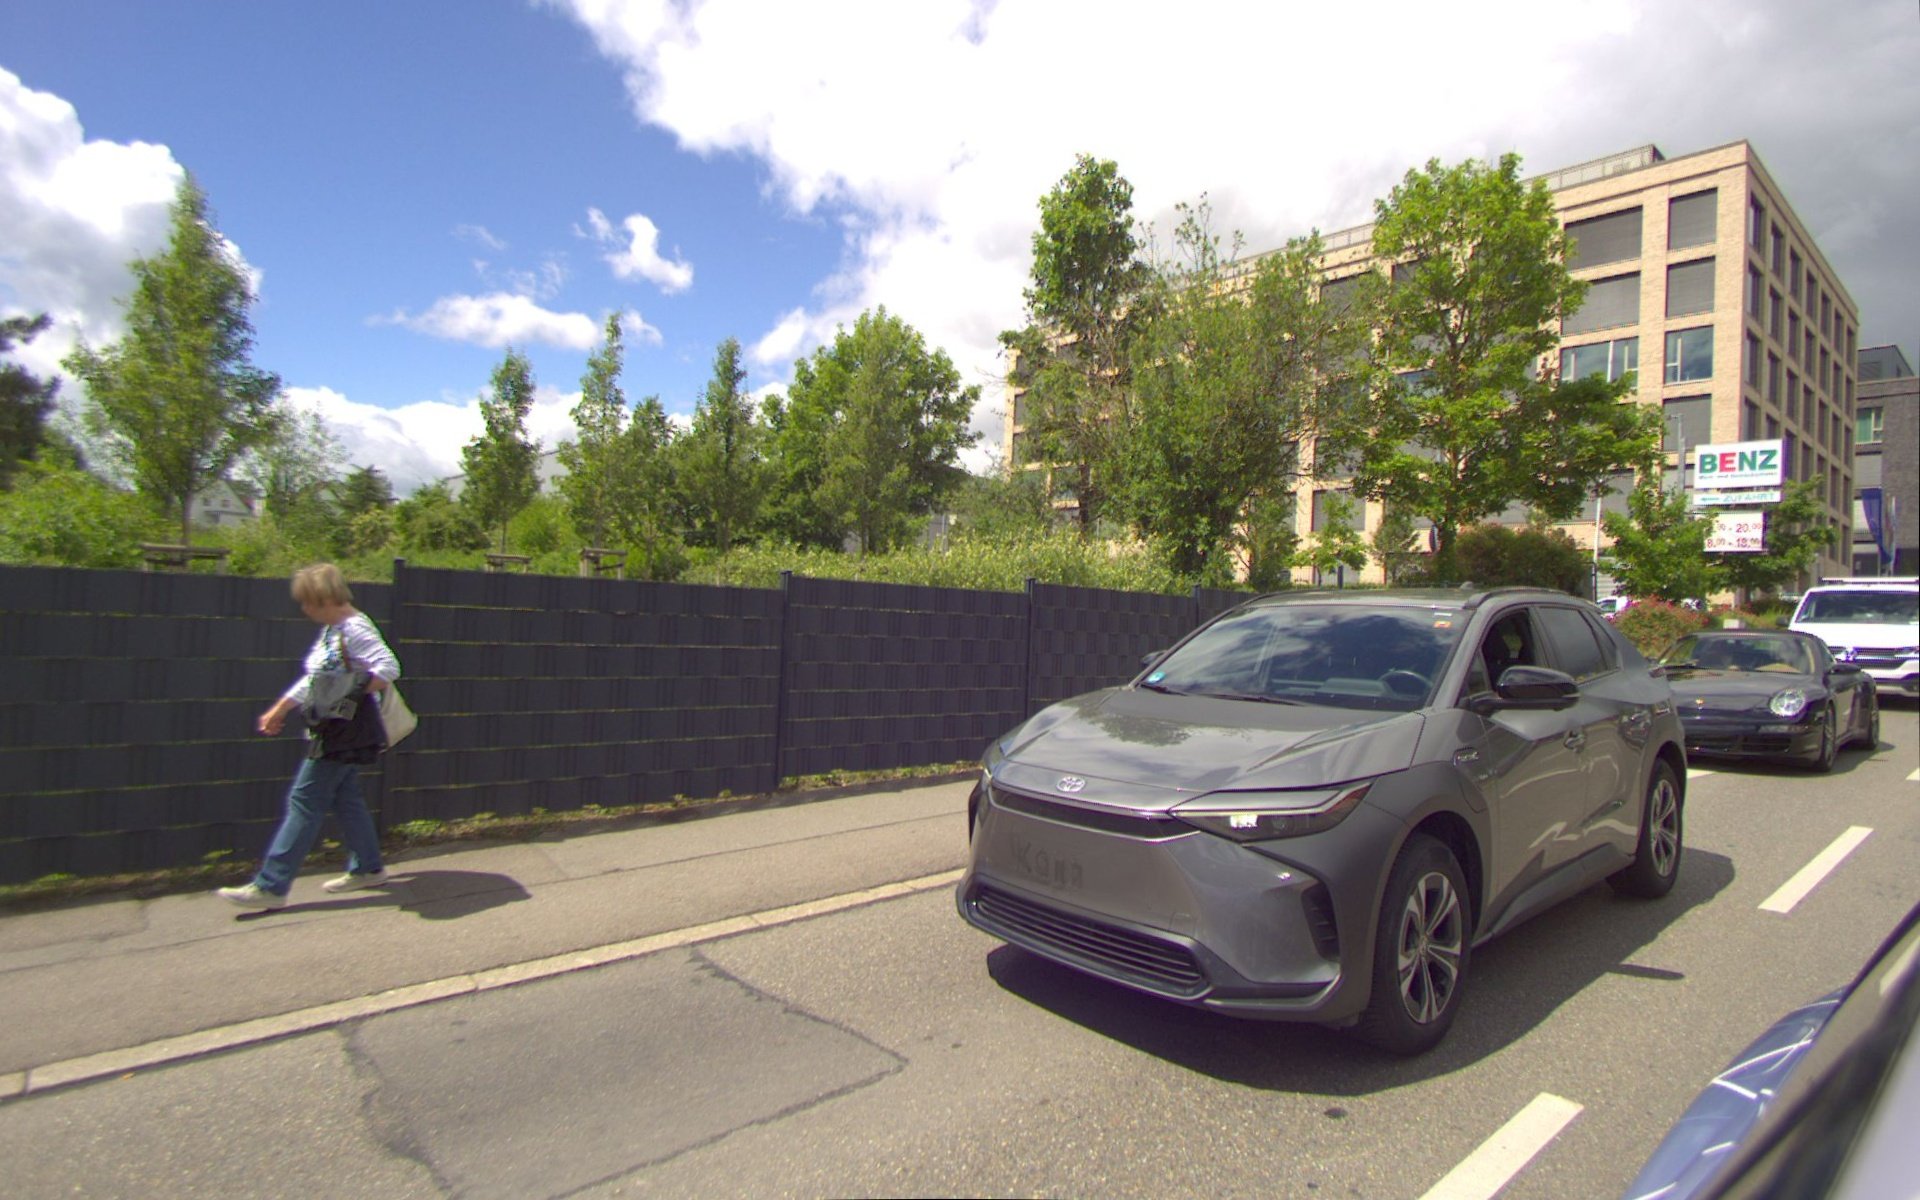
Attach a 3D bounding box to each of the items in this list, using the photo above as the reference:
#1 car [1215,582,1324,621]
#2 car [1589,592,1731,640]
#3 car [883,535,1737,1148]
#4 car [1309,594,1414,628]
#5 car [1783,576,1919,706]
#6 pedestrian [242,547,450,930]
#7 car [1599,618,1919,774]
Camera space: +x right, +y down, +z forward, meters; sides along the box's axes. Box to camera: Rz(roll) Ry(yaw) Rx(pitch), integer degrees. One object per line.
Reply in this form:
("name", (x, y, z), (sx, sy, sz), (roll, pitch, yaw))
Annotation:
("car", (12.556, 0.033, 41.205), (1.572, 1.427, 3.994), (0, 2, -41))
("car", (26.713, 0.567, 38.694), (1.707, 1.596, 4.211), (1, 1, -44))
("car", (2.038, 0.666, 4.956), (4.601, 1.634, 1.922), (1, -1, -41))
("car", (18.686, 0.487, 47.216), (1.705, 1.436, 4.215), (1, 1, -41))
("car", (15.166, 0.608, 16.491), (4.563, 1.874, 1.962), (1, -1, -41))
("pedestrian", (-2.881, 0.556, 4.728), (0.700, 1.581, 0.861), (0, 2, -41))
("car", (8.553, 0.850, 10.690), (4.487, 1.290, 1.776), (1, -1, -40))
